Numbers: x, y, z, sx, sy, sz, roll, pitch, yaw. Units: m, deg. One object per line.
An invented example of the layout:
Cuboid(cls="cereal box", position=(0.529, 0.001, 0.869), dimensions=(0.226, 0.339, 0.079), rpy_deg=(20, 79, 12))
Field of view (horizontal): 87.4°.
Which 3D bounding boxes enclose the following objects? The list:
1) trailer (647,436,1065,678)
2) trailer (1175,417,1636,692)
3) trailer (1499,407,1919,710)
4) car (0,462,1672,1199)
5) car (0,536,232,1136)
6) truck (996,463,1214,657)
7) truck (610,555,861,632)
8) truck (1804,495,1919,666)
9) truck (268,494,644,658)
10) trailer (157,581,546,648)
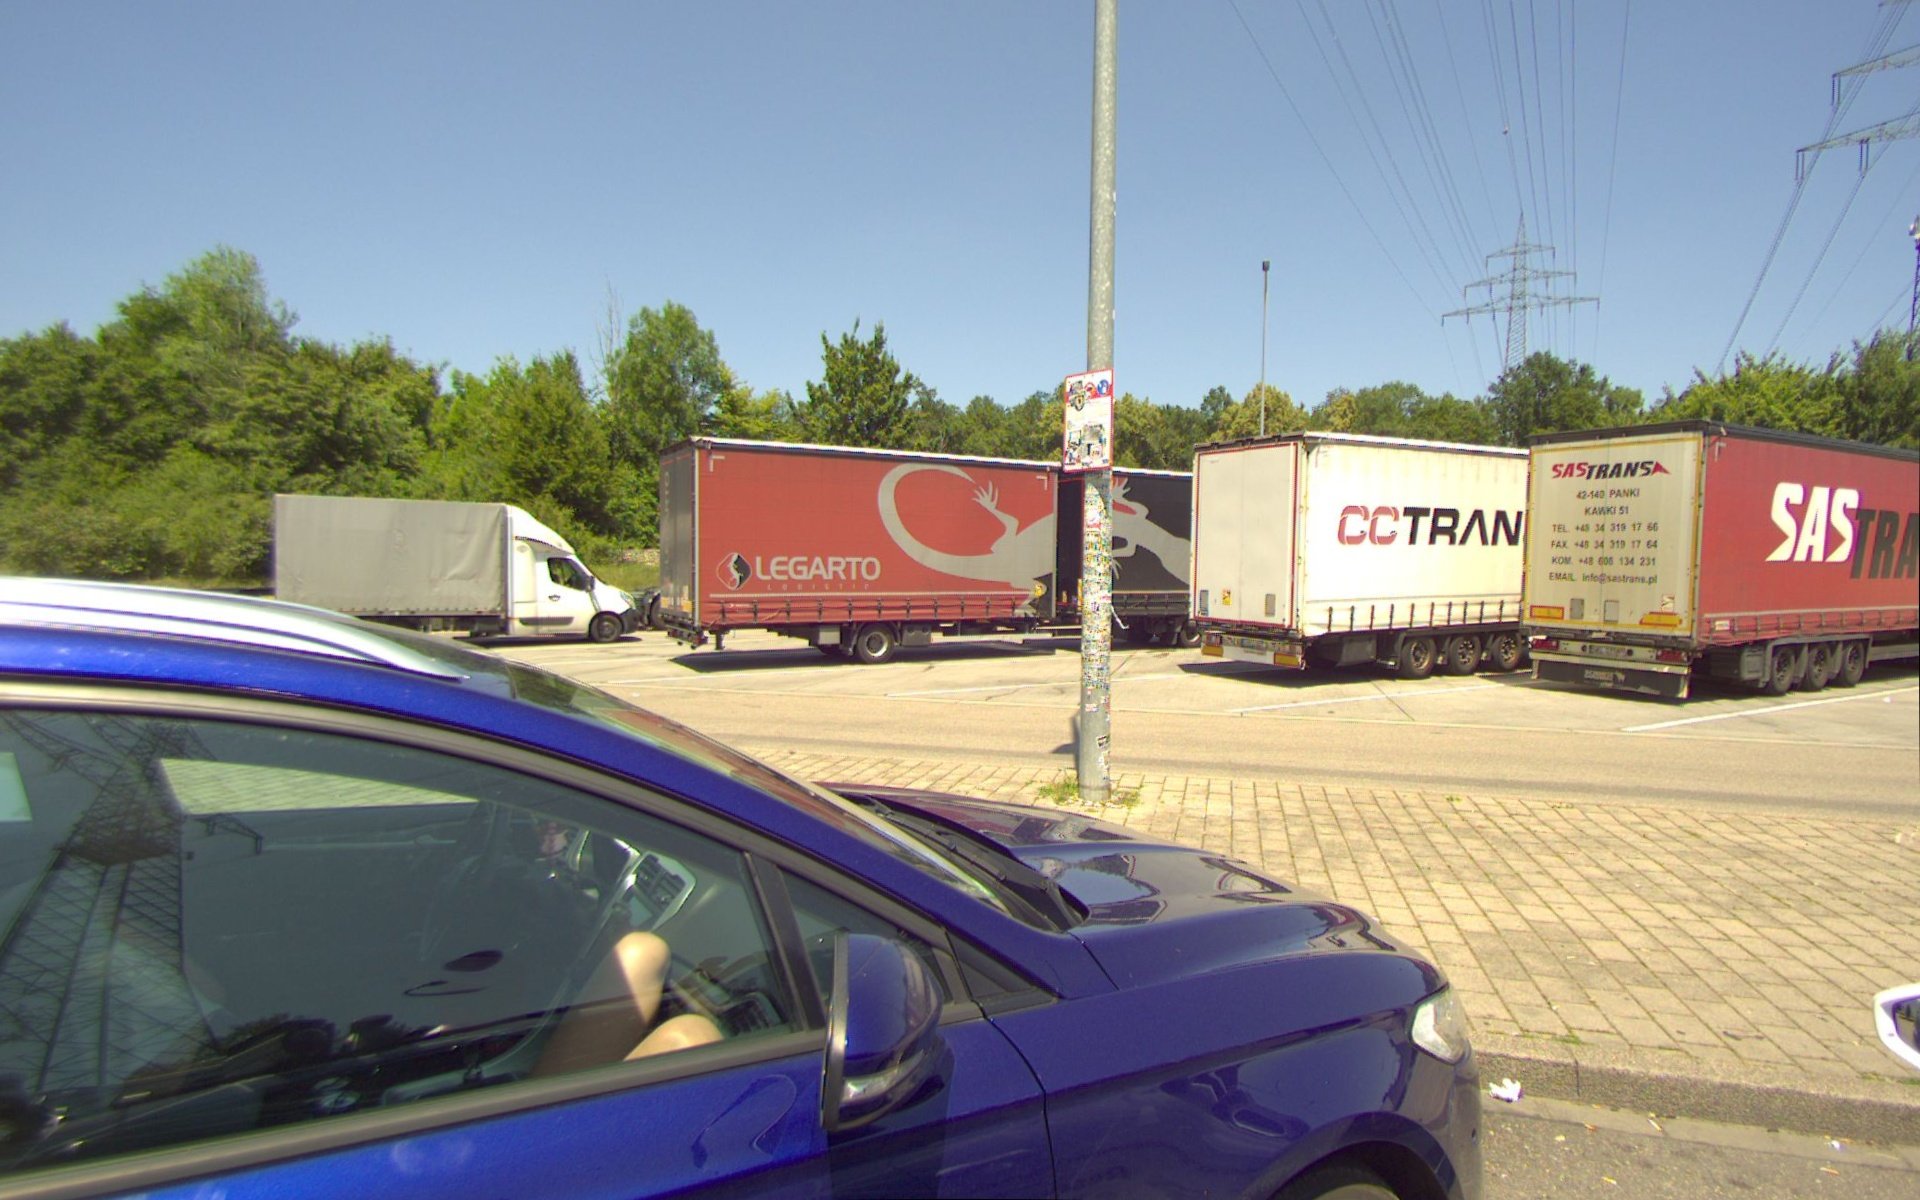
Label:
Cuboid(cls="trailer", position=(-1.922, -0.831, 20.271), dimensions=(7.996, 4.101, 2.696), rpy_deg=(-1, 3, -30))
Cuboid(cls="trailer", position=(8.870, -0.822, 19.334), dimensions=(10.049, 4.267, 2.714), rpy_deg=(-1, 3, -30))
Cuboid(cls="trailer", position=(15.409, -0.706, 18.570), dimensions=(13.559, 4.189, 2.892), rpy_deg=(-1, 3, -30))
Cuboid(cls="car", position=(-0.974, 0.655, 1.475), dimensions=(4.592, 1.502, 1.727), rpy_deg=(0, 0, -33))
Cuboid(cls="car", position=(-4.547, 0.583, 2.259), dimensions=(4.592, 1.554, 1.726), rpy_deg=(0, 1, -33))
Cuboid(cls="truck", position=(3.359, -0.906, 23.366), dimensions=(4.273, 4.072, 2.689), rpy_deg=(-1, 3, -30))
Cuboid(cls="truck", position=(-6.480, -0.164, 29.530), dimensions=(6.961, 2.040, 1.984), rpy_deg=(0, 0, -30))
Cuboid(cls="truck", position=(21.731, -0.435, 22.315), dimensions=(5.418, 3.475, 2.838), rpy_deg=(-1, 3, -30))
Cuboid(cls="truck", position=(-11.199, -0.573, 22.906), dimensions=(7.254, 3.254, 2.515), rpy_deg=(-1, 3, -30))
Cuboid(cls="trailer", position=(-14.827, 0.259, 25.189), dimensions=(7.996, 1.394, 2.211), rpy_deg=(-1, 3, -30))
